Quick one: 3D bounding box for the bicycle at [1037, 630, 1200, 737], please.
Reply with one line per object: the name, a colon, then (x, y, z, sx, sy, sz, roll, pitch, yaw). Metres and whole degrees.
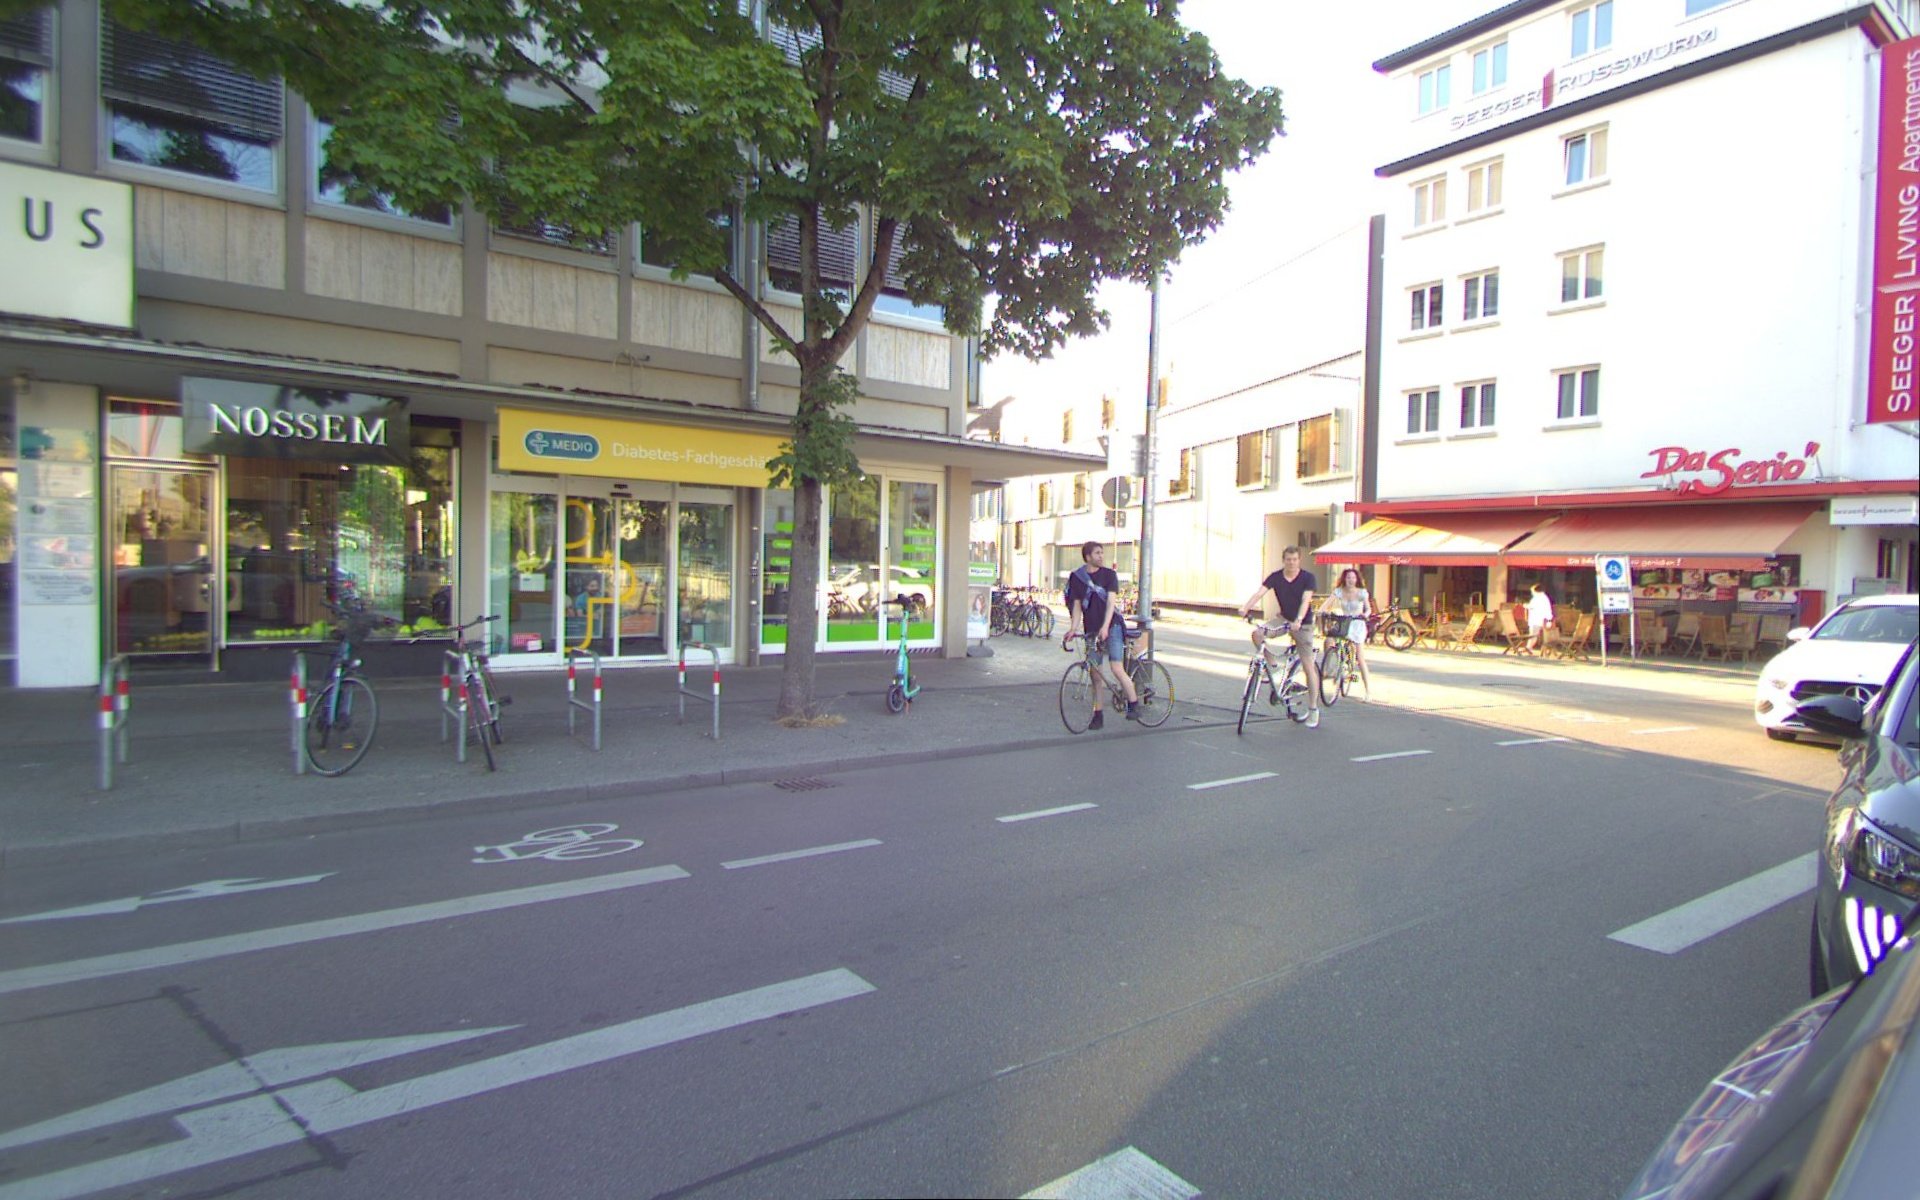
bicycle: (1.616, 0.795, 10.191, 1.660, 0.912, 0.675, 0, 2, -39)

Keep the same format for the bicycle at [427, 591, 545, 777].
bicycle: (-3.679, 0.574, 7.782, 0.528, 1.199, 1.638, 0, 3, -35)

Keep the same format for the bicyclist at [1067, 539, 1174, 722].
bicyclist: (1.610, 0.279, 10.165, 0.796, 1.748, 0.665, 0, 2, -39)

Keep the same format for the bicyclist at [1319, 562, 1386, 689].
bicyclist: (4.873, 0.292, 12.550, 0.584, 1.505, 0.709, 2, 2, 34)

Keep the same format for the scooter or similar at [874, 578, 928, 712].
scooter or similar: (-0.658, 0.450, 10.984, 0.504, 1.338, 1.283, 1, 2, -6)

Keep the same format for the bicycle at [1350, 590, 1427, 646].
bicycle: (9.966, 0.399, 23.595, 0.588, 1.181, 1.636, -2, 4, -31)

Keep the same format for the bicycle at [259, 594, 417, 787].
bicycle: (-4.581, 0.581, 7.402, 0.655, 1.154, 1.743, 0, 3, -43)

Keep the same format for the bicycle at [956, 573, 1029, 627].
bicycle: (0.786, 0.009, 24.546, 1.651, 1.201, 0.487, 3, 1, -19)

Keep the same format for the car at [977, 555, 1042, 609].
car: (1.946, -0.777, 41.196, 1.959, 2.038, 4.006, 1, 2, -6)

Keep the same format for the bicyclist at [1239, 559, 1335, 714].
bicyclist: (3.339, 0.346, 10.342, 0.705, 1.505, 0.614, 0, 2, -38)

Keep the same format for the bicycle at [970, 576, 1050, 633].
bicycle: (1.154, 0.102, 23.388, 1.682, 1.201, 0.541, 3, 1, -19)

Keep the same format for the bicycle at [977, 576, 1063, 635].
bicycle: (1.321, 0.118, 22.321, 1.743, 1.201, 0.556, 3, 1, -19)

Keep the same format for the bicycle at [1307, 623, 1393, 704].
bicycle: (4.863, 0.757, 12.562, 0.596, 0.835, 1.719, 3, 3, 34)

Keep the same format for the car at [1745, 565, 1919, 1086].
car: (4.858, 0.669, 4.180, 4.625, 1.522, 1.913, -1, 3, -44)

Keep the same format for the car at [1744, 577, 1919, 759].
car: (9.734, 0.541, 9.984, 4.475, 1.466, 1.818, -1, 3, -34)

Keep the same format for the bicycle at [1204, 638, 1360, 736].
bicycle: (3.313, 0.848, 10.346, 1.772, 0.835, 0.615, 0, 2, -38)

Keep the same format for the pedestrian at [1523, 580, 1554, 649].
pedestrian: (12.636, 0.309, 22.106, 0.504, 1.467, 0.502, 2, 2, 27)
